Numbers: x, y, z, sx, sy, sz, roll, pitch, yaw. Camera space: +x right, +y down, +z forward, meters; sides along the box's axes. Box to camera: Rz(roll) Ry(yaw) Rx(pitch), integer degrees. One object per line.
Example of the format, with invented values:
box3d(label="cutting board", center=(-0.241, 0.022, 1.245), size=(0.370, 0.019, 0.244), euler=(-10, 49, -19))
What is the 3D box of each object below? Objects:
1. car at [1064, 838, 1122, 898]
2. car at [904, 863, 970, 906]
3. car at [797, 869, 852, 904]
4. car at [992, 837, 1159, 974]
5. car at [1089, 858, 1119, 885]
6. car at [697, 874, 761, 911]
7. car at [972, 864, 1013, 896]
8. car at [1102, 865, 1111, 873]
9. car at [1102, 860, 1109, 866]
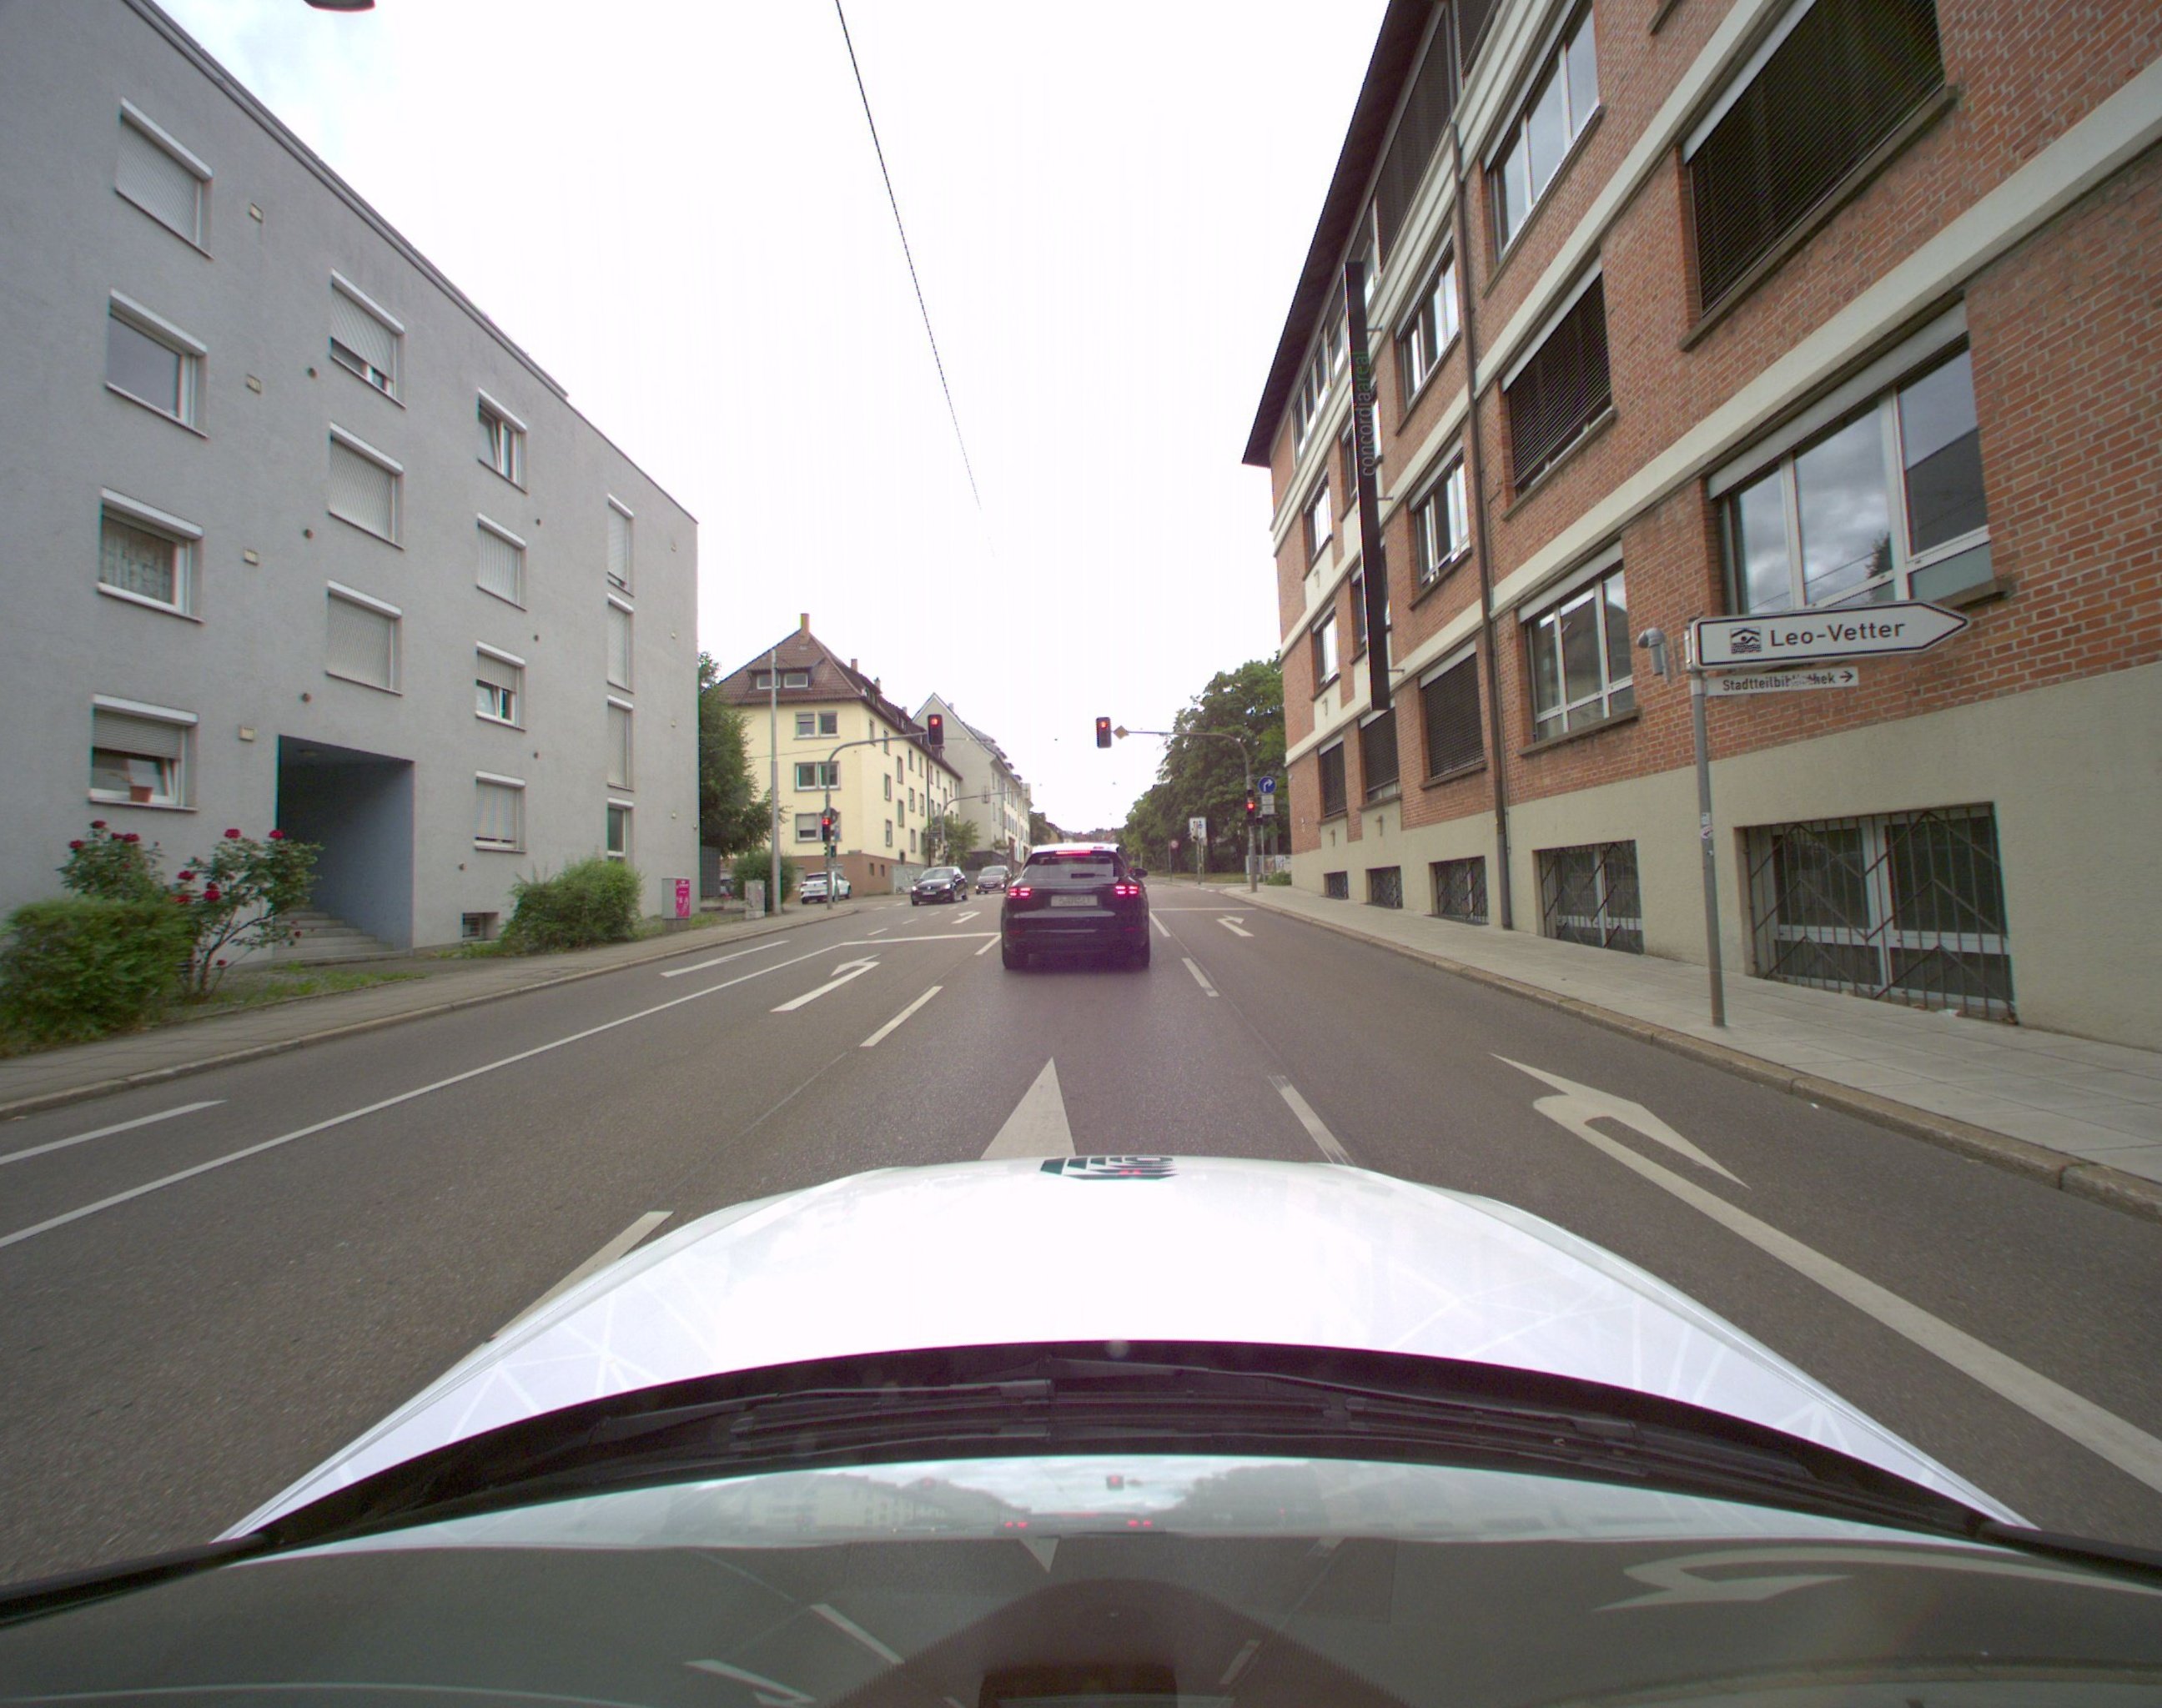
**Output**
box3d(label="car", center=(0.496, 0.482, 30.195), size=(1.957, 2.042, 4.137), euler=(-1, 0, 2))
box3d(label="car", center=(-5.579, 1.145, 31.916), size=(1.667, 1.400, 3.796), euler=(-4, 0, 2))
box3d(label="car", center=(-13.273, 1.661, 42.347), size=(1.686, 1.555, 3.763), euler=(-4, 0, -2))
box3d(label="car", center=(0.014, 0.631, 12.190), size=(2.040, 1.666, 4.269), euler=(-1, 0, 2))
box3d(label="car", center=(1.470, 1.063, 52.104), size=(1.820, 1.605, 4.137), euler=(-1, 0, 2))
box3d(label="car", center=(-18.199, 1.958, 42.273), size=(1.686, 1.608, 3.763), euler=(-4, 0, -2))
box3d(label="car", center=(-5.029, 1.439, 46.832), size=(1.697, 1.587, 3.938), euler=(-4, 0, 2))
box3d(label="car", center=(5.100, 3.003, 162.926), size=(1.820, 1.605, 4.137), euler=(-1, 0, 2))
box3d(label="car", center=(6.429, 2.387, 211.212), size=(1.820, 1.605, 4.137), euler=(-1, 0, 2))
